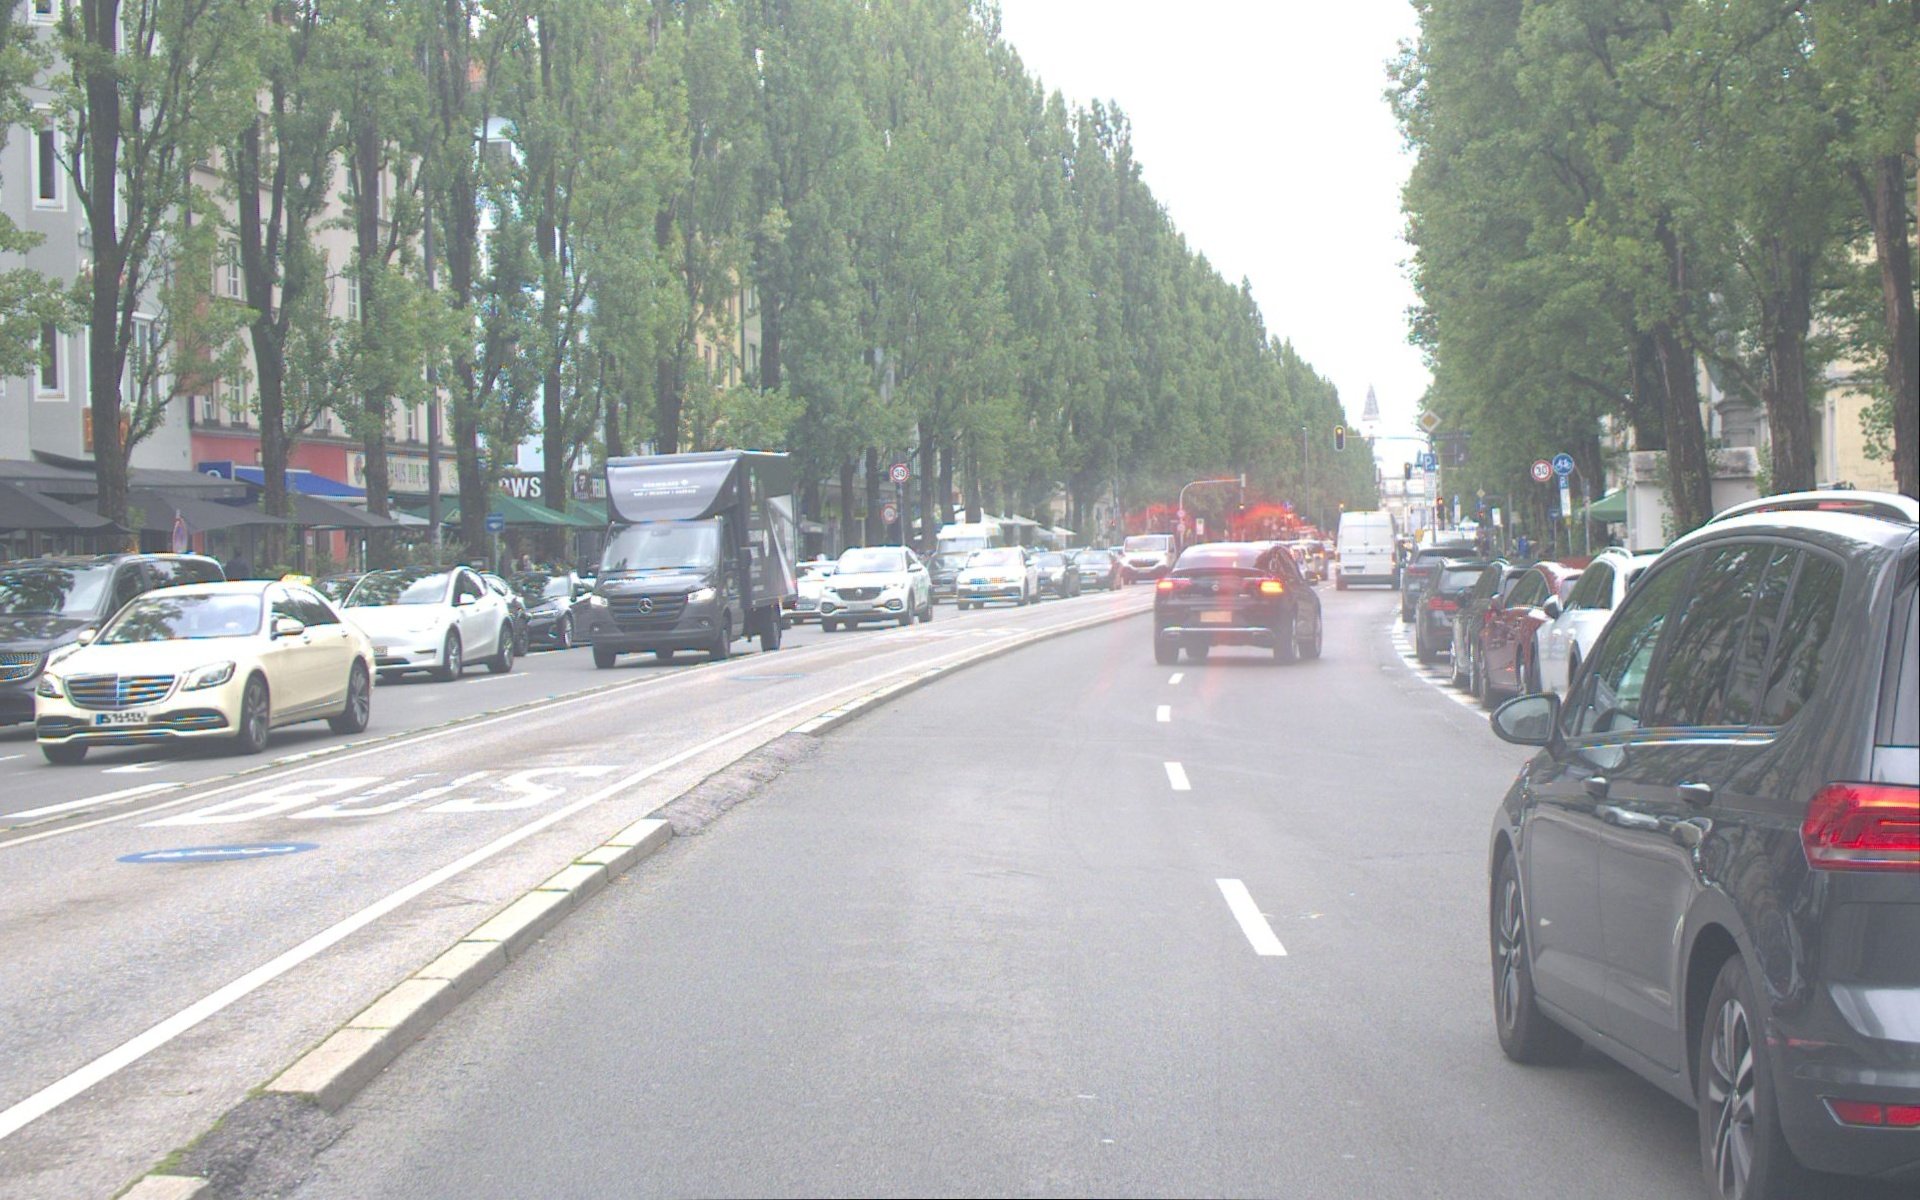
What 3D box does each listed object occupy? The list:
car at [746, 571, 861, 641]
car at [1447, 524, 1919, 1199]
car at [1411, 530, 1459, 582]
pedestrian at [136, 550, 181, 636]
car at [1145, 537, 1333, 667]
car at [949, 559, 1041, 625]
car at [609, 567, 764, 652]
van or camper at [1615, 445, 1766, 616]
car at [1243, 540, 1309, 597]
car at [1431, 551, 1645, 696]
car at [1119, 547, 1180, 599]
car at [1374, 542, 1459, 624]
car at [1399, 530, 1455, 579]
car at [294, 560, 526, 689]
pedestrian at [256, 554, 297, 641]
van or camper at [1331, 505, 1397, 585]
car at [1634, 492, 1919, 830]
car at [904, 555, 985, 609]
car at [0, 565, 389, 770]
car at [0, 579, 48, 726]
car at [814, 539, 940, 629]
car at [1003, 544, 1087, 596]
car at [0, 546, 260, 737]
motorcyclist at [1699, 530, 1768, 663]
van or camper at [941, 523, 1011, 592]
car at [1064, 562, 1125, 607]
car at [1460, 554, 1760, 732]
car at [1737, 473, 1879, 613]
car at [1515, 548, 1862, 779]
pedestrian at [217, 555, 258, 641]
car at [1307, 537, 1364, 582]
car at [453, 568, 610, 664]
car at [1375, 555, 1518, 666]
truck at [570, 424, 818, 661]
[{"bbox_3d":[-3.638,0.108,80.482,1.940,1.488,4.456,-2,1,7],"label":"car"},{"bbox_3d":[2.431,0.628,8.552,1.761,1.608,4.184,0,1,-1],"label":"car"},{"bbox_3d":[18.698,-1.715,135.461,1.805,1.985,3.999,0,0,7],"label":"car"},{"bbox_3d":[-16.060,-0.146,68.910,0.638,1.694,0.648,-2,1,7],"label":"pedestrian"},{"bbox_3d":[3.884,-0.011,47.128,1.882,1.636,4.580,-1,1,13],"label":"car"},{"bbox_3d":[0.968,-0.229,92.407,1.940,1.636,4.462,-2,1,7],"label":"car"},{"bbox_3d":[-5.082,0.153,64.481,1.940,1.429,4.537,-2,1,8],"label":"car"},{"bbox_3d":[14.110,-1.343,66.648,2.461,3.101,4.714,-2,1,8],"label":"van or camper"},{"bbox_3d":[9.088,-0.890,98.623,1.760,1.614,3.746,0,0,7],"label":"car"},{"bbox_3d":[6.153,0.212,37.029,1.847,1.423,4.425,-1,1,4],"label":"car"},{"bbox_3d":[7.668,-1.092,138.606,1.994,1.927,4.917,-3,0,7],"label":"car"},{"bbox_3d":[9.294,-0.371,70.189,1.624,1.560,4.370,-1,1,7],"label":"car"},{"bbox_3d":[16.022,-1.562,118.048,1.805,1.590,3.999,-2,1,7],"label":"car"},{"bbox_3d":[-7.782,0.307,49.079,1.994,1.645,4.635,-2,1,7],"label":"car"},{"bbox_3d":[-14.887,-0.052,74.912,0.638,1.855,0.648,-2,1,7],"label":"pedestrian"},{"bbox_3d":[13.206,-1.780,112.304,2.035,2.467,3.999,-1,-1,7],"label":"van or camper"},{"bbox_3d":[5.114,0.300,19.513,1.925,1.694,4.649,0,0,3],"label":"car"},{"bbox_3d":[-0.445,-0.529,104.202,1.849,1.559,4.211,-2,0,8],"label":"car"},{"bbox_3d":[-6.914,0.545,31.532,1.994,1.583,5.194,-3,1,5],"label":"car"},{"bbox_3d":[-11.850,0.645,37.526,1.994,1.624,4.380,-2,1,9],"label":"car"},{"bbox_3d":[-1.661,-0.350,70.723,1.861,1.705,4.535,-2,1,7],"label":"car"},{"bbox_3d":[2.580,-0.912,103.079,1.994,1.427,4.771,-2,1,7],"label":"car"},{"bbox_3d":[-9.552,0.406,37.464,1.994,1.857,5.710,-3,1,7],"label":"car"},{"bbox_3d":[8.354,-0.039,37.157,0.564,1.401,0.766,-2,1,4],"label":"motorcyclist"},{"bbox_3d":[0.610,-1.558,125.566,1.994,2.450,4.250,-1,1,7],"label":"van or camper"},{"bbox_3d":[4.507,-0.525,114.568,1.712,1.409,3.722,-2,1,7],"label":"car"},{"bbox_3d":[5.838,0.332,31.432,1.930,1.445,4.804,-2,1,2],"label":"car"},{"bbox_3d":[15.025,-1.020,60.738,1.903,2.320,4.820,-2,1,19],"label":"car"},{"bbox_3d":[5.322,0.398,25.697,1.810,1.495,4.805,-2,1,4],"label":"car"},{"bbox_3d":[-15.734,-0.050,74.861,0.638,1.855,0.648,-2,1,7],"label":"pedestrian"},{"bbox_3d":[15.024,-1.635,137.489,1.994,1.711,3.999,-2,1,9],"label":"car"},{"bbox_3d":[-7.969,0.273,64.331,1.863,1.624,4.167,-2,1,8],"label":"car"},{"bbox_3d":[6.706,0.117,47.691,1.733,1.389,4.432,-2,1,6],"label":"car"},{"bbox_3d":[-3.980,-0.889,53.048,2.292,3.311,7.155,-2,1,7],"label":"truck"}]
